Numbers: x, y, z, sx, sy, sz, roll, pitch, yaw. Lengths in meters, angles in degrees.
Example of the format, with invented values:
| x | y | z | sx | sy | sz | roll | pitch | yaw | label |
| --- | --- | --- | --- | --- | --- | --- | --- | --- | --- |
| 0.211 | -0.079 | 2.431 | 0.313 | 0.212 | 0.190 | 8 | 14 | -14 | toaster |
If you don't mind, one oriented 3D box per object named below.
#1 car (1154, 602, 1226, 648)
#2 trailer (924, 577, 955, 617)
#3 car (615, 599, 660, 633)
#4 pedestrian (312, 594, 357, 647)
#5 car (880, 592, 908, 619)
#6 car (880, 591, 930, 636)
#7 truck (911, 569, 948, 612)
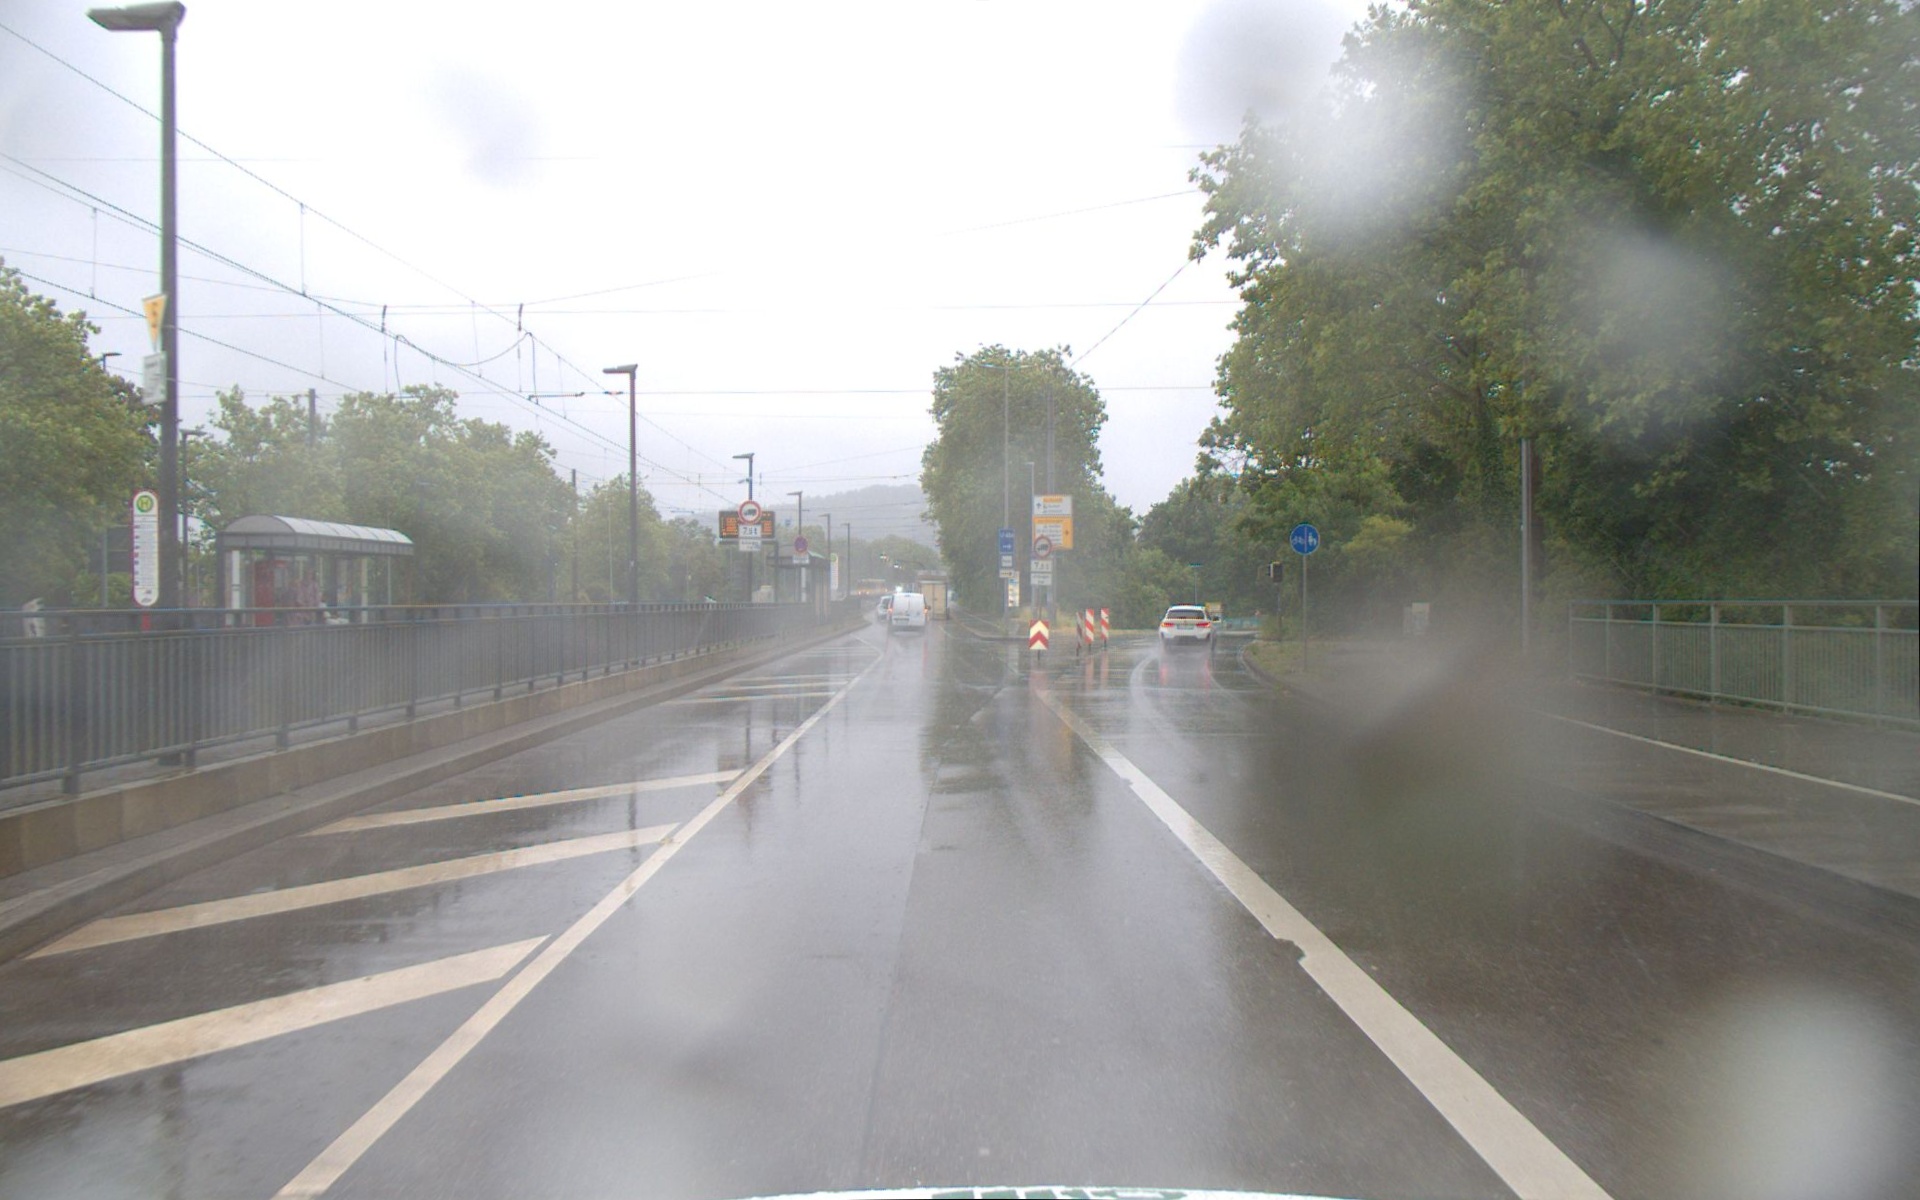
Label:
| x | y | z | sx | sy | sz | roll | pitch | yaw | label |
| --- | --- | --- | --- | --- | --- | --- | --- | --- | --- |
| 7.648 | 0.808 | 54.704 | 1.848 | 1.456 | 4.003 | 0 | 0 | 15 | car |
| -1.458 | -0.164 | 119.324 | 2.121 | 2.806 | 5.677 | 0 | -1 | 1 | trailer |
| -19.630 | 0.960 | 100.873 | 1.953 | 2.049 | 3.999 | 0 | -1 | 0 | car |
| -16.151 | 0.521 | 42.743 | 0.814 | 1.339 | 0.858 | 1 | 0 | -1 | pedestrian |
| -4.233 | 0.374 | 106.739 | 1.750 | 1.671 | 3.966 | 0 | -1 | -2 | car |
| -2.402 | 0.560 | 71.192 | 1.954 | 1.881 | 3.996 | 0 | 0 | -5 | car |
| -2.844 | -0.814 | 150.292 | 2.721 | 3.769 | 9.842 | 0 | -1 | -5 | truck |
